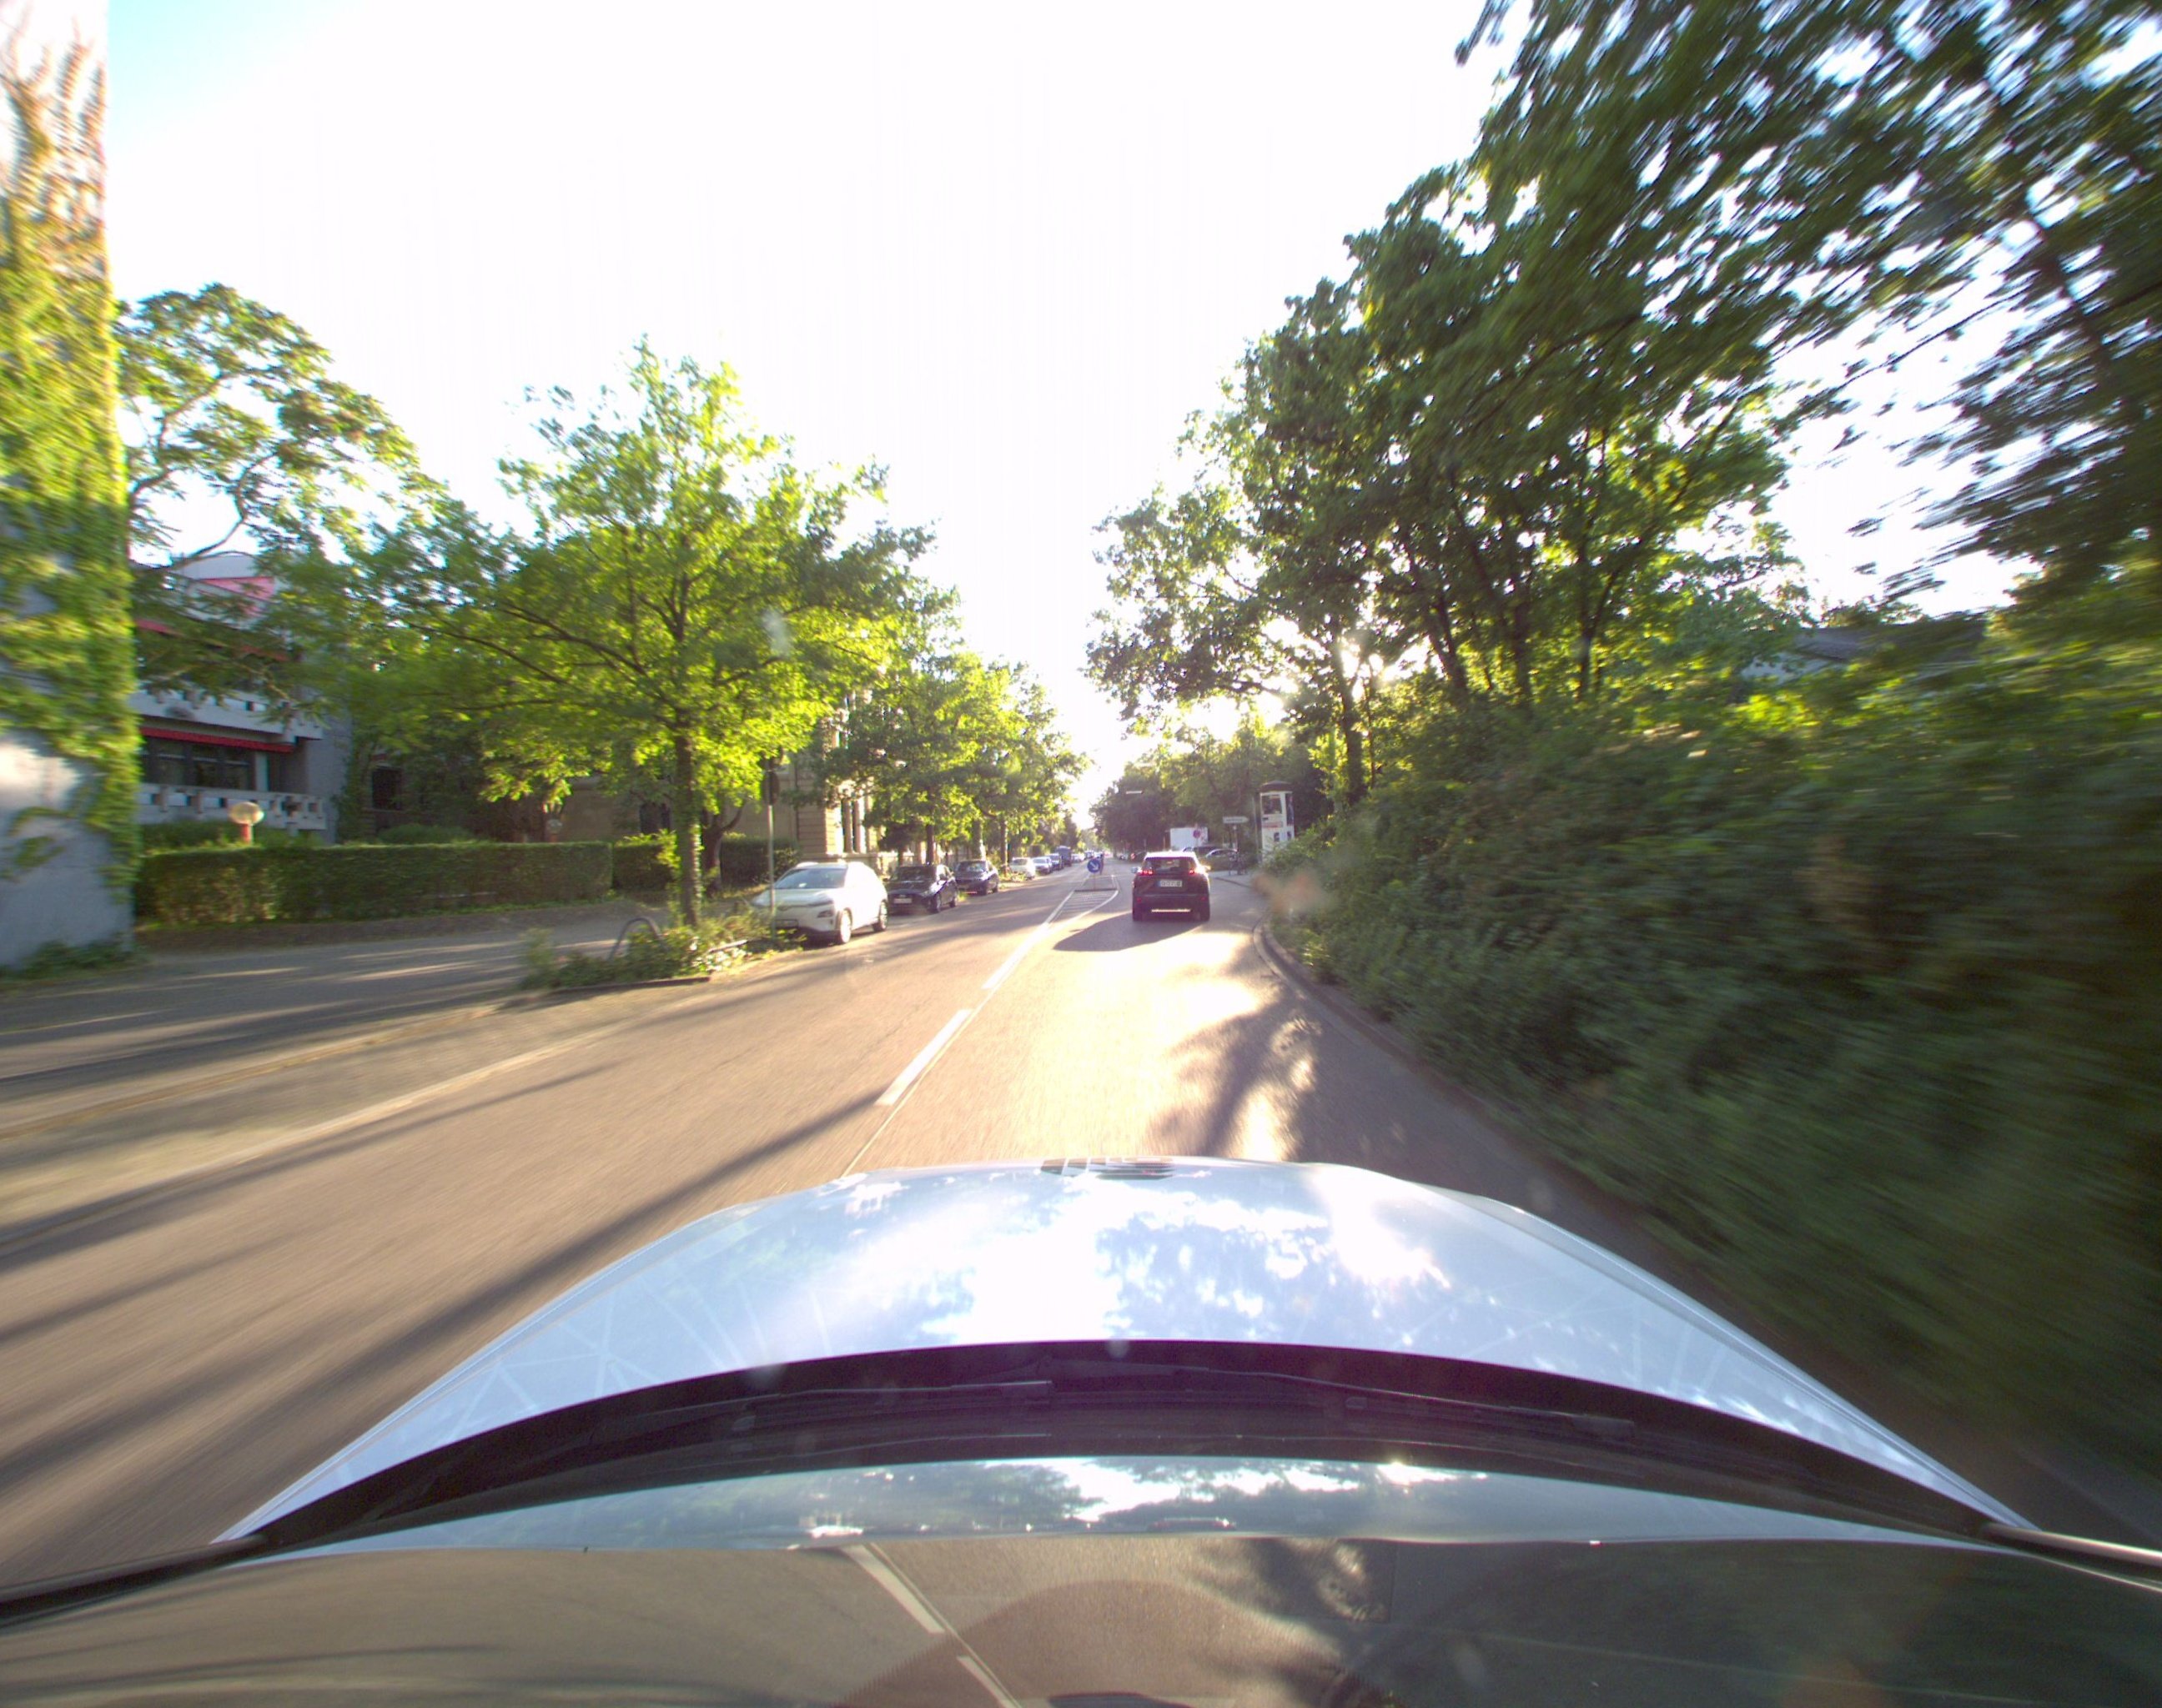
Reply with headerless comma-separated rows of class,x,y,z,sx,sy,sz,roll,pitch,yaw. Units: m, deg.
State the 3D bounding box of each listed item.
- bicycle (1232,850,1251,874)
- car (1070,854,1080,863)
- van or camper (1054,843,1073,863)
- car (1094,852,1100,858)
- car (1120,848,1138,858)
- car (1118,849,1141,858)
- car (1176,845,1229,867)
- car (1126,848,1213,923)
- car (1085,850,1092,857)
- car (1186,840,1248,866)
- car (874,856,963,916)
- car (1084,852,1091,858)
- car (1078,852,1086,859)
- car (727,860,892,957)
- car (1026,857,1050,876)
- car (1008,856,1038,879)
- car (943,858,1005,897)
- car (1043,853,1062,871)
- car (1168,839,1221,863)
bicycle,8.725,0.438,44.122,0.488,1.148,2.297,-6,0,22
car,-1.075,0.774,141.677,1.609,1.515,3.711,-5,0,0
van or camper,-2.263,-0.105,106.474,2.221,2.544,7.081,-1,0,1
car,4.239,0.196,215.731,1.735,1.458,4.625,-3,0,1
car,11.054,-0.176,188.895,3.979,2.089,1.756,-2,0,-4
car,9.285,-0.101,156.937,4.230,1.448,2.021,-4,0,-1
car,10.903,0.175,73.230,4.348,1.537,1.921,-5,0,0
car,2.058,0.682,19.890,1.765,1.568,4.110,-2,1,2
car,2.220,-0.038,240.286,1.985,2.013,4.003,-2,0,3
car,10.412,-0.071,62.467,4.348,1.554,1.727,-5,0,0
car,-4.886,0.903,25.044,1.773,1.616,4.148,-2,0,1
car,1.941,0.252,230.359,1.893,1.574,4.001,-2,0,1
car,0.198,0.328,184.483,1.747,1.413,3.764,-5,0,0
car,-5.318,0.984,16.579,1.797,1.616,4.148,-3,0,1
car,-3.643,1.028,69.168,1.612,1.496,4.379,-2,0,1
car,-4.007,0.906,56.537,1.612,1.496,3.926,-2,0,1
car,-4.622,0.967,35.786,1.795,1.510,4.866,-2,0,3
car,-2.991,0.818,86.840,1.770,1.866,4.334,0,0,2
car,11.135,-0.268,80.341,4.836,1.915,1.916,-5,0,0
